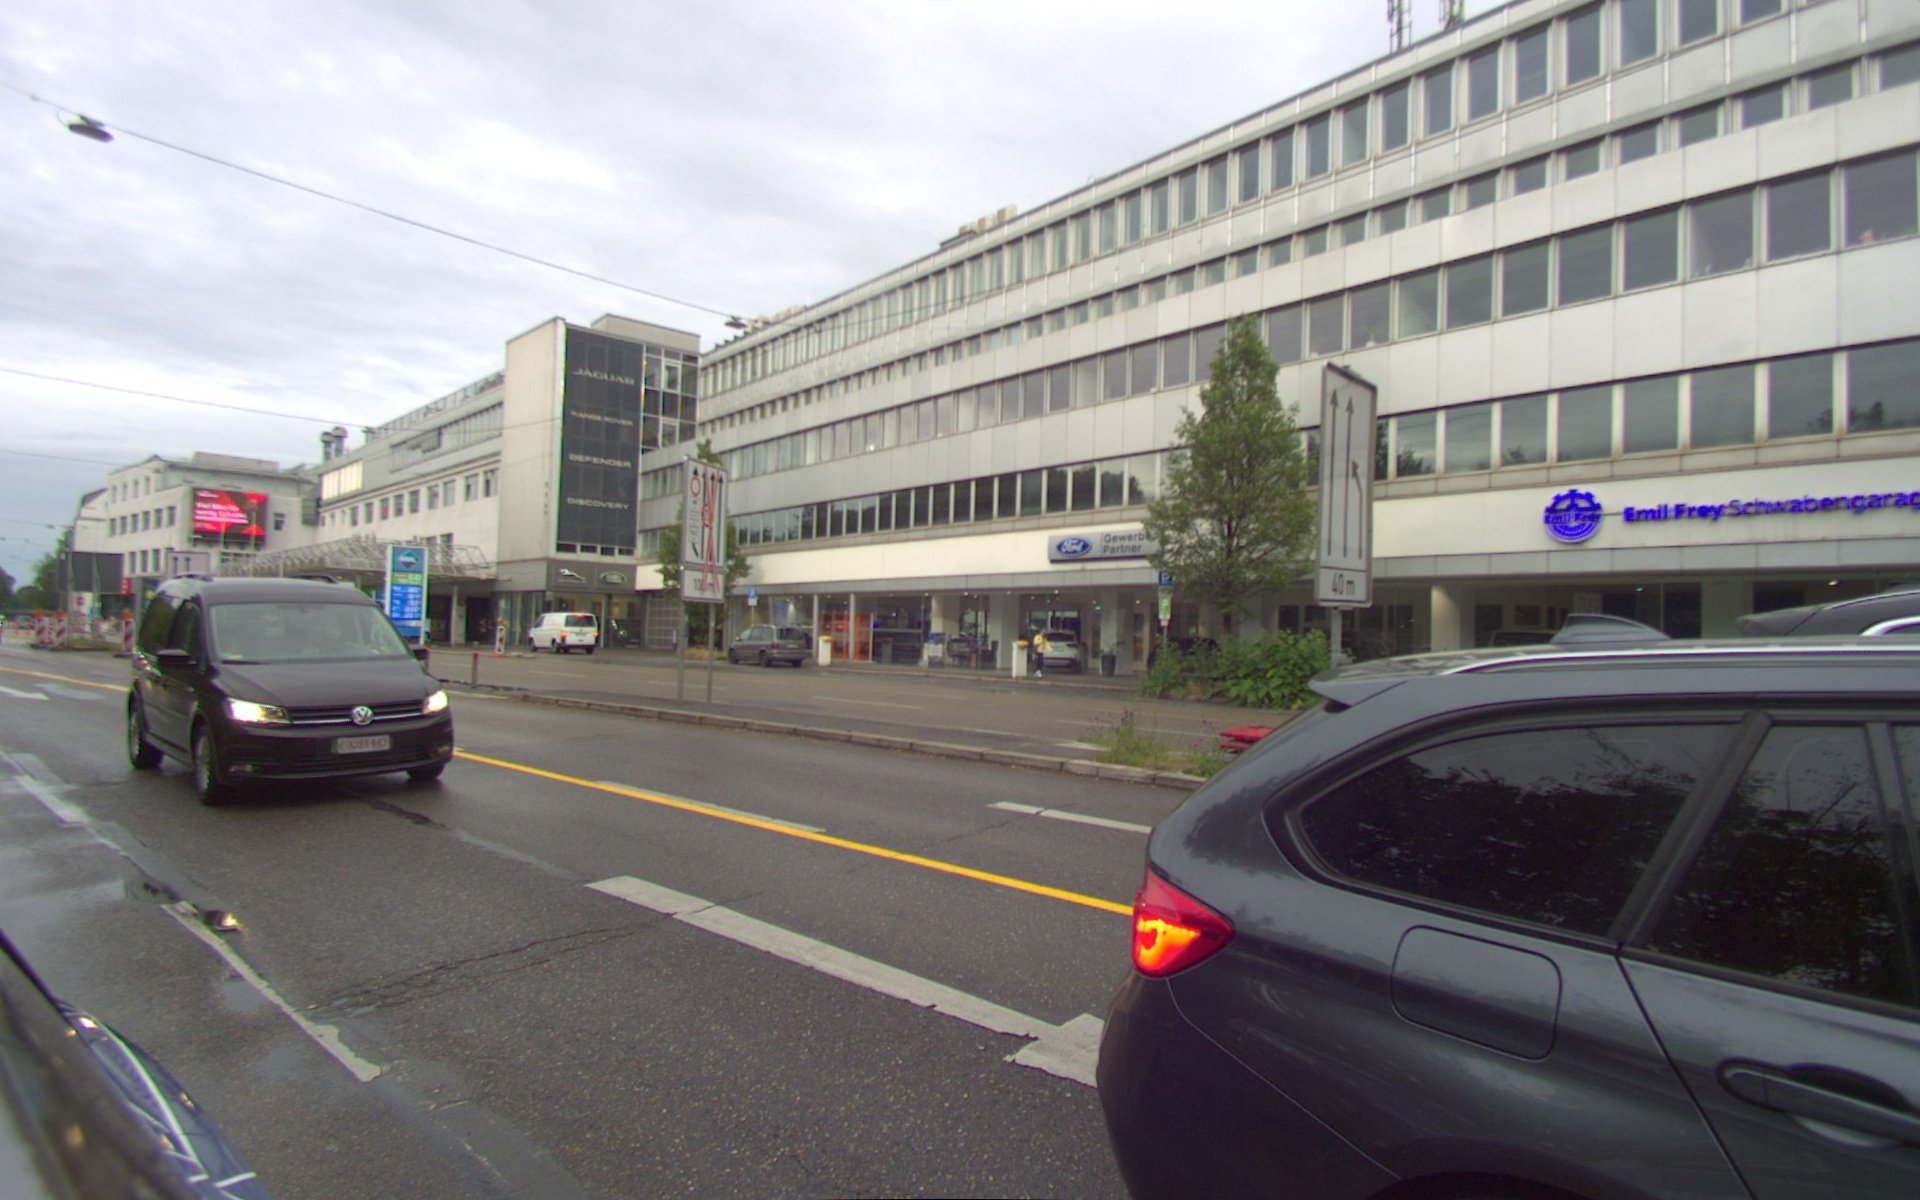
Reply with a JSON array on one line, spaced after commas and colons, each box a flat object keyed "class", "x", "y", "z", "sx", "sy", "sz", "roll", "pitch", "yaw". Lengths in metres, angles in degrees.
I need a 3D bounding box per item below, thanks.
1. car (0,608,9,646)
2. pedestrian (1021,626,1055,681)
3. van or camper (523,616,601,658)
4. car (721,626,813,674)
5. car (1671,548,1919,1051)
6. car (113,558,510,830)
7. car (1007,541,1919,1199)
[{"class": "car", "x": -43.093, "y": 1.182, "z": 44.358, "sx": 3.948, "sy": 1.629, "sz": 1.747, "roll": -1, "pitch": 0, "yaw": 43}, {"class": "pedestrian", "x": 2.645, "y": 1.789, "z": 34.242, "sx": 0.750, "sy": 1.788, "sz": 0.865, "roll": -1, "pitch": 0, "yaw": -42}, {"class": "van or camper", "x": -19.460, "y": 1.794, "z": 49.345, "sx": 1.912, "sy": 1.938, "sz": 4.689, "roll": 3, "pitch": -3, "yaw": -43}, {"class": "car", "x": -8.256, "y": 2.076, "z": 43.141, "sx": 1.895, "sy": 1.829, "sz": 4.169, "roll": -1, "pitch": 0, "yaw": -44}, {"class": "car", "x": 4.905, "y": 0.638, "z": 2.930, "sx": 4.445, "sy": 1.668, "sz": 1.789, "roll": -1, "pitch": 0, "yaw": 44}, {"class": "car", "x": -5.933, "y": 0.645, "z": 9.016, "sx": 4.429, "sy": 1.828, "sz": 1.880, "roll": -1, "pitch": 0, "yaw": 42}, {"class": "car", "x": 2.333, "y": 0.691, "z": 1.090, "sx": 4.476, "sy": 1.469, "sz": 1.757, "roll": -1, "pitch": -3, "yaw": 42}]
